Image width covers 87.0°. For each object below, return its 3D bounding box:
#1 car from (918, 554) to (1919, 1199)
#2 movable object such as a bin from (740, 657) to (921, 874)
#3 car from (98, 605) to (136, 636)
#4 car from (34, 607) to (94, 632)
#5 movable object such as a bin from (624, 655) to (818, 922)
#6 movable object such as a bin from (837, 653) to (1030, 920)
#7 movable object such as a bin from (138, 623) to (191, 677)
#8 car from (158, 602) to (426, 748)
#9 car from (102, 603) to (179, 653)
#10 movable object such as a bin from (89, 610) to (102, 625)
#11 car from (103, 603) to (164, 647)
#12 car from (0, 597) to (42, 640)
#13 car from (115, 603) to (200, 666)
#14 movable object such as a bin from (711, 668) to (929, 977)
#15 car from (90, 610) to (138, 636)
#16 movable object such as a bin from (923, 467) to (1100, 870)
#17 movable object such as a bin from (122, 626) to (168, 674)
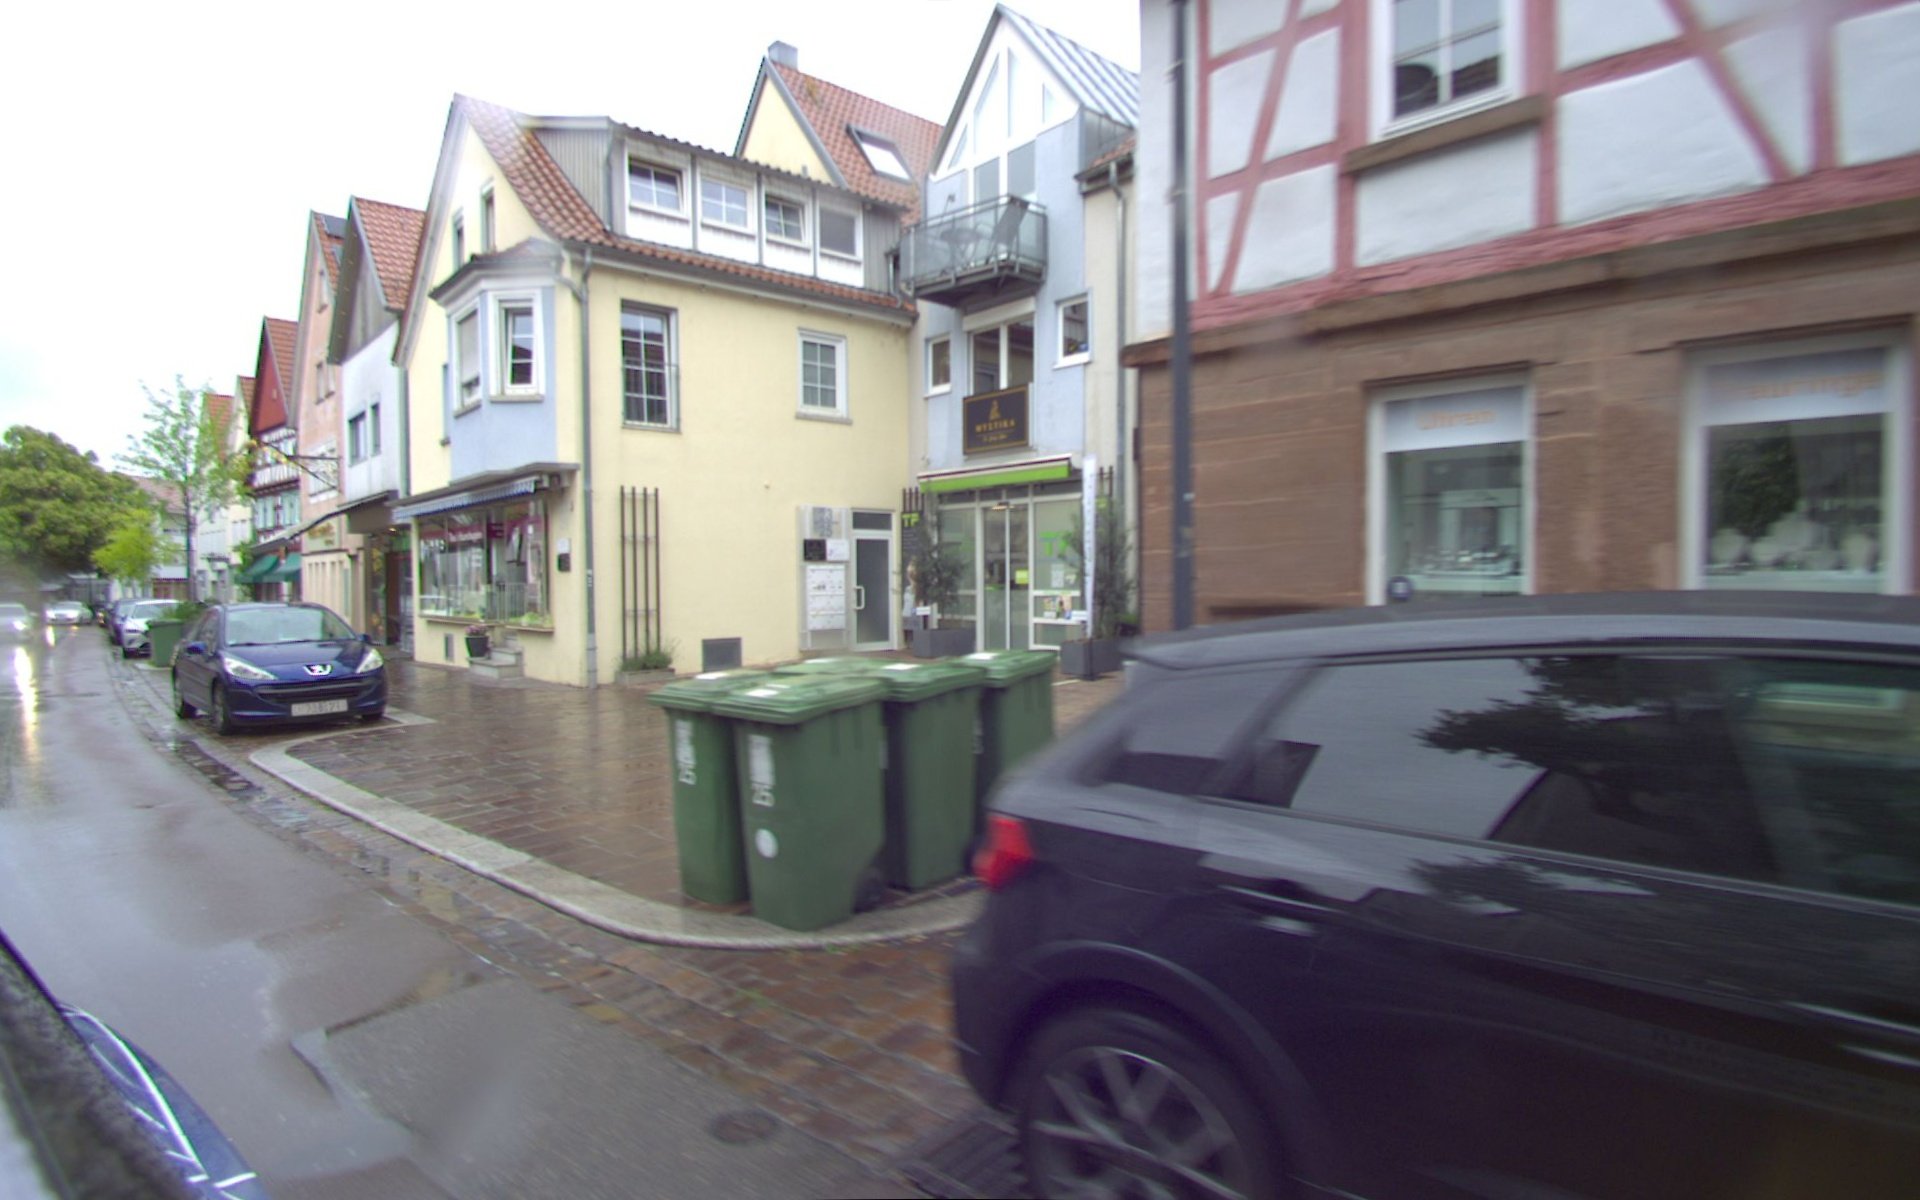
[{"bbox_3d":[2.112,0.662,1.918,3.991,1.505,1.976,-1,1,36],"label":"car"},{"bbox_3d":[-0.718,0.866,5.590,0.733,1.060,0.623,-4,-2,41],"label":"movable object such as a bin"},{"bbox_3d":[-46.324,1.120,55.647,1.572,1.557,3.984,0,1,-39],"label":"car"},{"bbox_3d":[-57.915,1.233,65.491,1.965,1.464,4.013,0,1,-27],"label":"car"},{"bbox_3d":[-1.175,0.862,4.971,0.733,1.122,0.623,1,1,41],"label":"movable object such as a bin"},{"bbox_3d":[-0.133,0.863,5.012,0.733,1.131,0.623,1,1,41],"label":"movable object such as a bin"},{"bbox_3d":[-18.080,1.132,23.007,0.610,1.114,0.806,1,4,44],"label":"movable object such as a bin"},{"bbox_3d":[-8.497,0.801,12.741,4.001,1.483,1.971,-1,1,44],"label":"car"},{"bbox_3d":[-30.134,0.980,37.167,1.812,1.563,4.286,-5,4,-43],"label":"car"},{"bbox_3d":[-66.894,1.374,78.327,0.537,1.158,0.587,0,1,-14],"label":"movable object such as a bin"},{"bbox_3d":[-34.847,1.010,42.624,1.811,1.687,4.547,-1,1,-41],"label":"car"},{"bbox_3d":[-34.602,0.639,36.499,1.968,1.464,4.007,0,1,-39],"label":"car"},{"bbox_3d":[-22.948,0.920,28.913,1.804,1.578,4.007,0,1,-40],"label":"car"},{"bbox_3d":[-0.617,0.903,4.435,0.733,1.131,0.623,1,1,41],"label":"movable object such as a bin"},{"bbox_3d":[-49.985,1.372,59.745,1.781,1.443,4.630,-1,-1,-45],"label":"car"},{"bbox_3d":[0.283,0.338,5.563,0.746,2.029,0.623,1,1,41],"label":"movable object such as a bin"},{"bbox_3d":[-19.874,1.203,24.676,0.610,1.114,0.805,1,1,44],"label":"movable object such as a bin"}]
